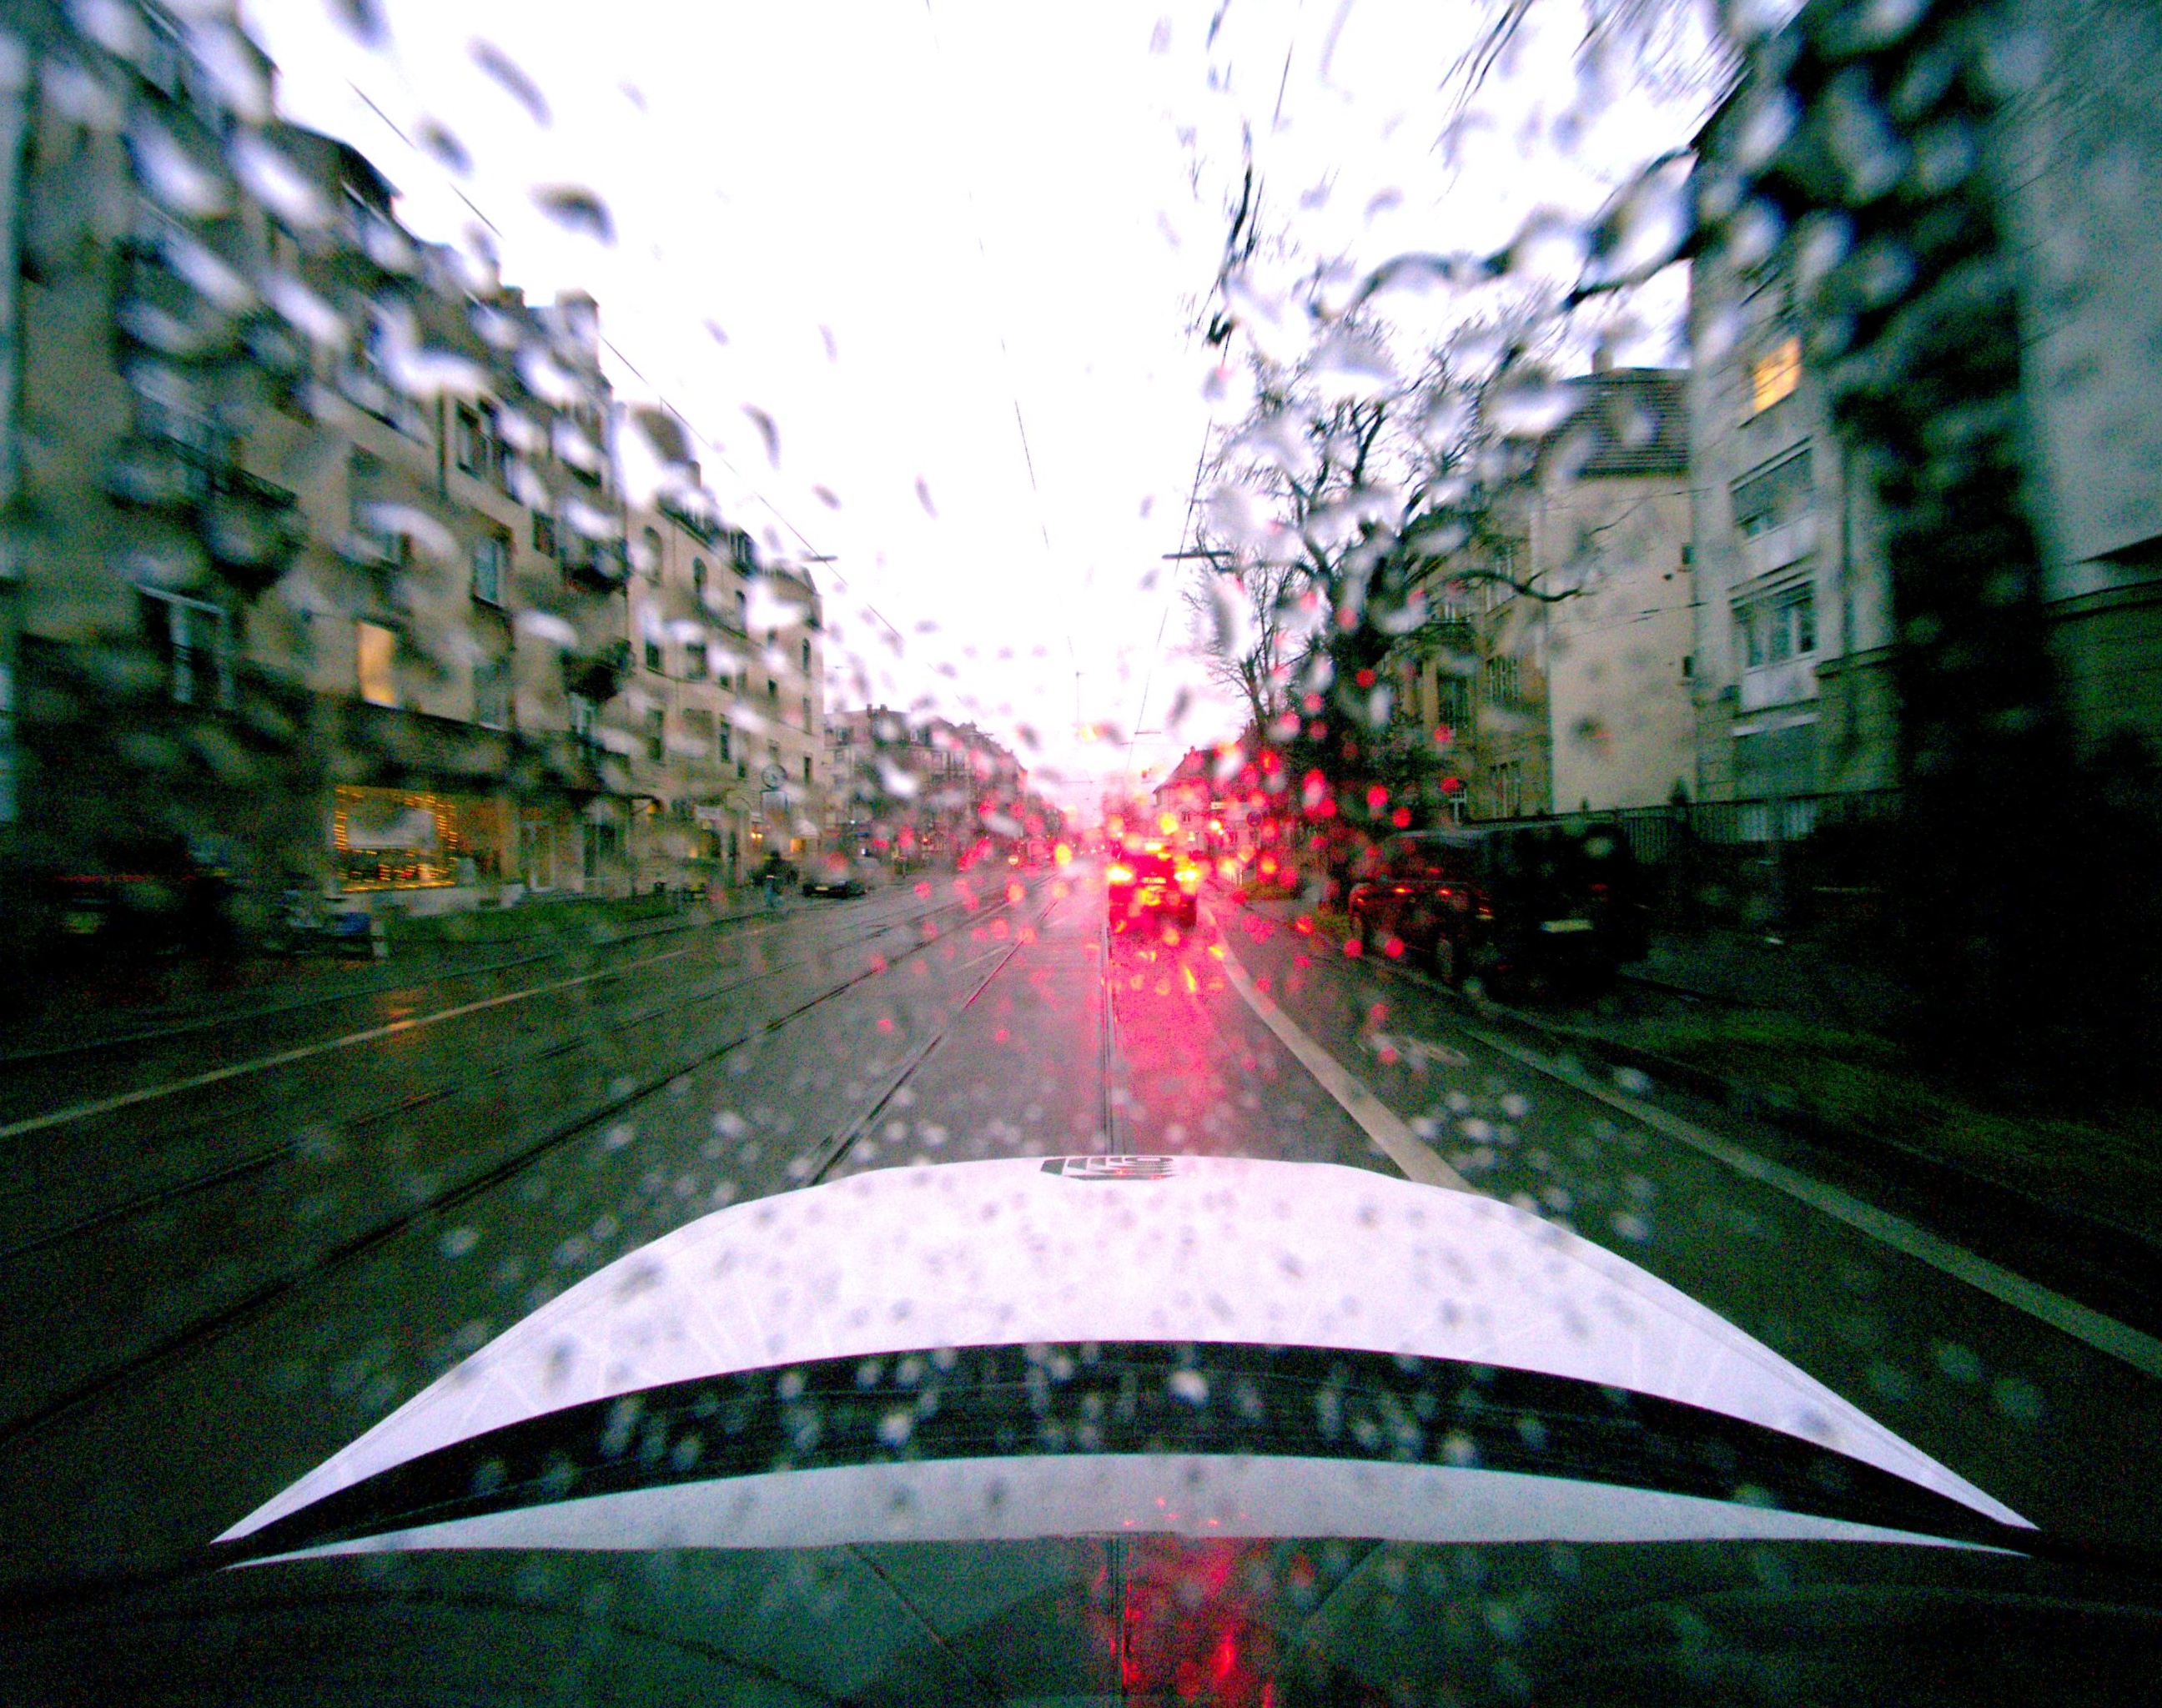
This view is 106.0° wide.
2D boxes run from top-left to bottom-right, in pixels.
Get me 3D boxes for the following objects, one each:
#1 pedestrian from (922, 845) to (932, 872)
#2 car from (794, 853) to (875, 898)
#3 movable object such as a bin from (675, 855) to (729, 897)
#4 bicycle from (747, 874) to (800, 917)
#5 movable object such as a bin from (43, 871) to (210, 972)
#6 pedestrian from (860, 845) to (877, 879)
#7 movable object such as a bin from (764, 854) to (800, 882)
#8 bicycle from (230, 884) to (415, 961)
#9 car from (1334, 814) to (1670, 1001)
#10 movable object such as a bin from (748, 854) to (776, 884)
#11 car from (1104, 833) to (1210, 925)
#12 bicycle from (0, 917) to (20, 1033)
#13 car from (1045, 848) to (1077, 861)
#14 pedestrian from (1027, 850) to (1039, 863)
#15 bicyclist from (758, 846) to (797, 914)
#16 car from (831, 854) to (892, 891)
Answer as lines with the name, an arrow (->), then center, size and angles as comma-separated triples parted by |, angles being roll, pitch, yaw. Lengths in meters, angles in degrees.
pedestrian -> -11.855, 0.361, 62.666 | 0.706, 2.013, 0.656 | -1, 0, -18
car -> -10.319, 0.870, 34.518 | 1.980, 1.645, 4.629 | 4, 0, -1
movable object such as a bin -> -13.275, 0.762, 28.592 | 1.262, 1.420, 1.251 | -1, 0, 2
bicycle -> -8.601, 1.146, 22.890 | 0.620, 1.092, 1.950 | -1, 0, 4
movable object such as a bin -> -14.311, 0.985, 12.261 | 1.098, 1.379, 1.168 | 2, 0, 3
pedestrian -> -12.842, 0.466, 49.122 | 0.748, 2.014, 0.652 | -1, -1, 38
movable object such as a bin -> -14.916, 0.694, 40.649 | 1.289, 1.367, 1.253 | -1, 0, 1
bicycle -> -12.063, 1.075, 12.987 | 2.339, 1.105, 0.696 | 1, 0, 2
car -> 5.139, 0.537, 10.936 | 2.023, 1.875, 4.965 | -2, 0, 1
movable object such as a bin -> -15.411, 0.717, 39.355 | 0.895, 1.377, 1.007 | -1, 0, 2
car -> 1.682, 0.489, 18.647 | 2.094, 1.816, 4.665 | 1, 0, 4
bicycle -> -10.611, 1.163, 7.042 | 0.620, 1.092, 1.664 | -1, 0, 4
car -> -2.595, 0.078, 105.806 | 4.000, 1.595, 1.705 | -1, 0, -6
pedestrian -> -4.726, 0.244, 80.203 | 1.043, 1.200, 0.885 | 0, 0, 2
bicyclist -> -8.589, 0.728, 23.076 | 0.620, 1.876, 0.992 | -1, 0, 4
car -> -10.768, 0.873, 40.254 | 2.033, 1.551, 4.027 | 2, 1, -3
